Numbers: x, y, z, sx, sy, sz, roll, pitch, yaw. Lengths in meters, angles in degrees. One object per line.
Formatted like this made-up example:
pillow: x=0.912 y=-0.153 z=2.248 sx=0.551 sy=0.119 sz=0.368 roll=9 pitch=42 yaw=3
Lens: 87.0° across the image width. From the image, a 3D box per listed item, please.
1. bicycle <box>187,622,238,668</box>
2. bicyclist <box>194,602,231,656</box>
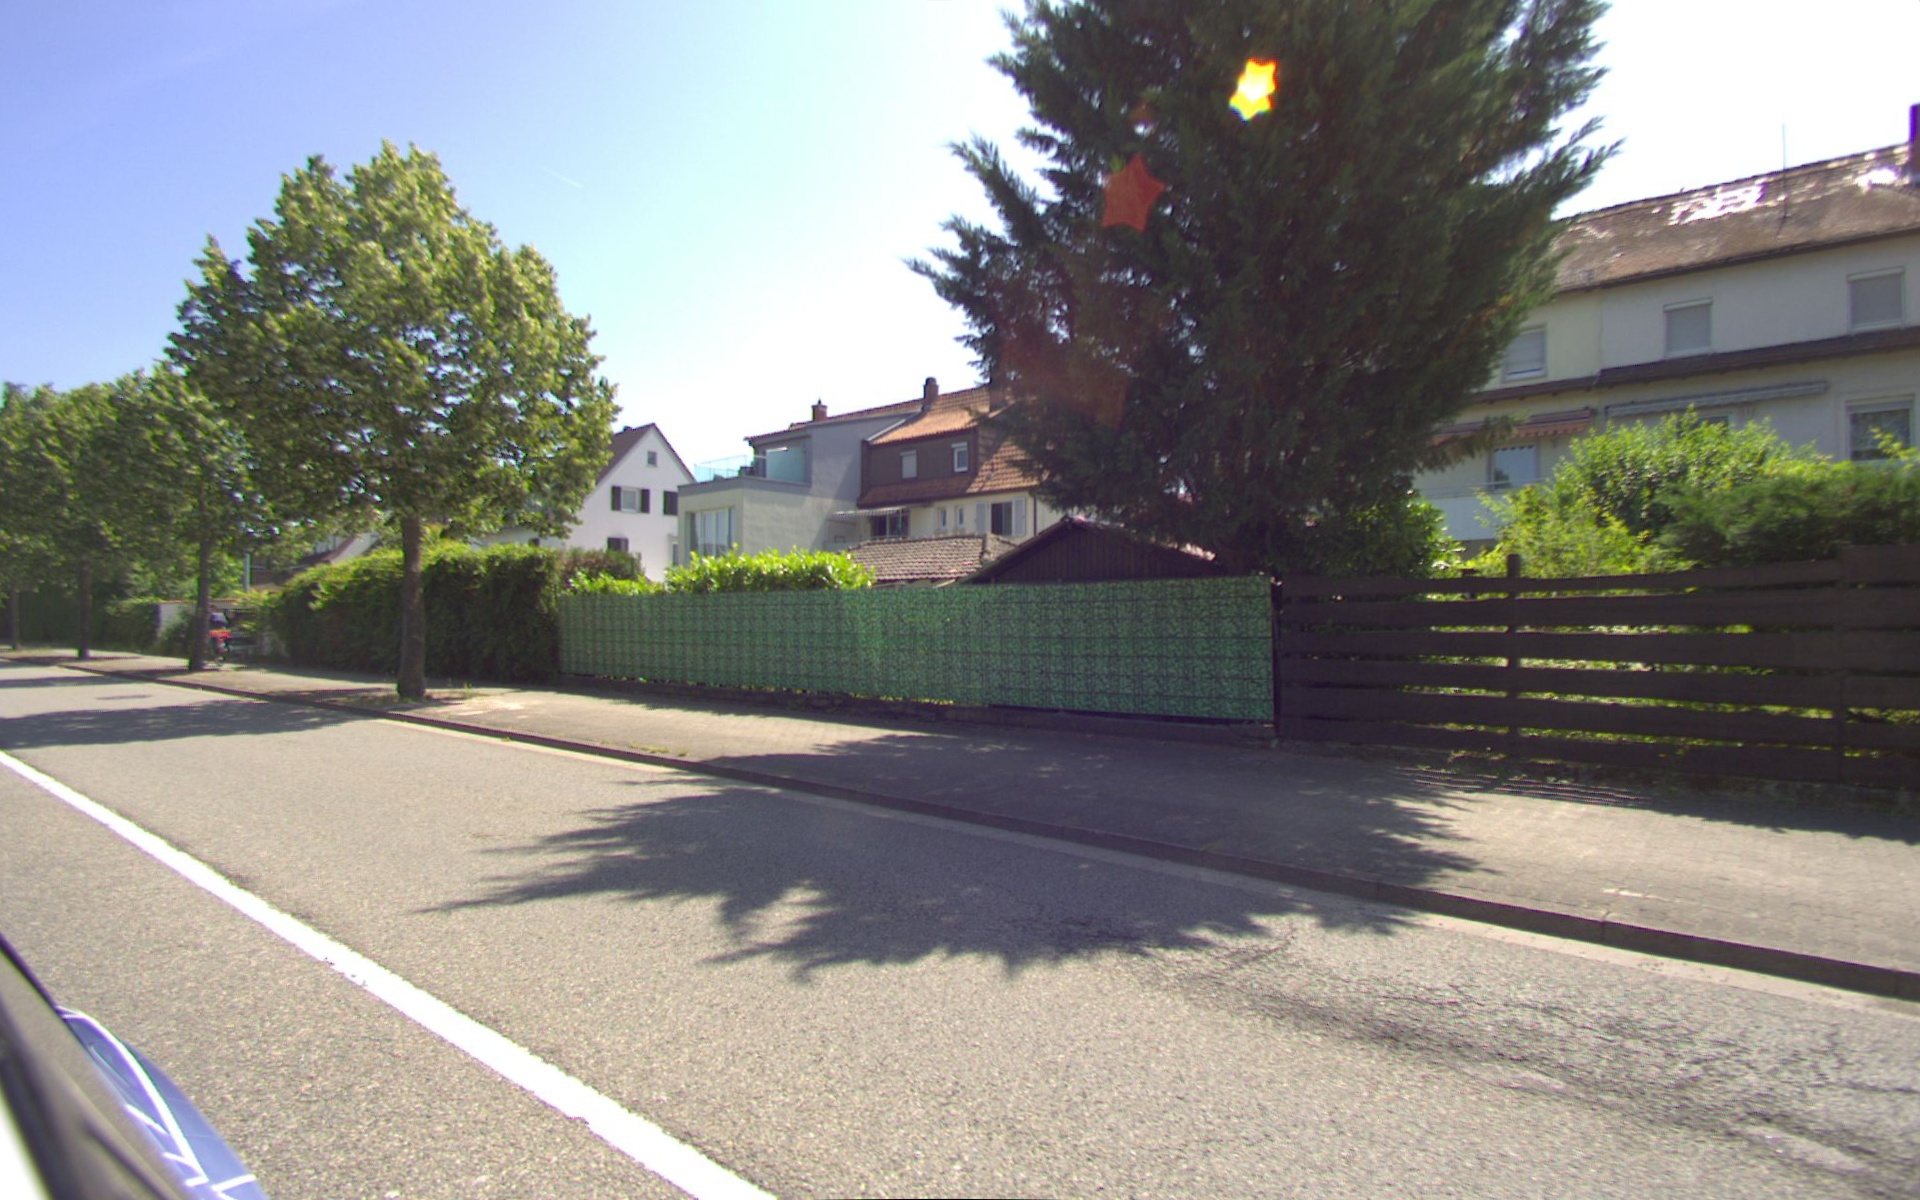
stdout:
bicycle: x=-19.979 y=1.187 z=27.043 sx=1.813 sy=1.189 sz=0.626 roll=-1 pitch=-2 yaw=38
bicyclist: x=-19.980 y=0.788 z=27.056 sx=0.676 sy=1.419 sz=0.622 roll=-2 pitch=-2 yaw=38
